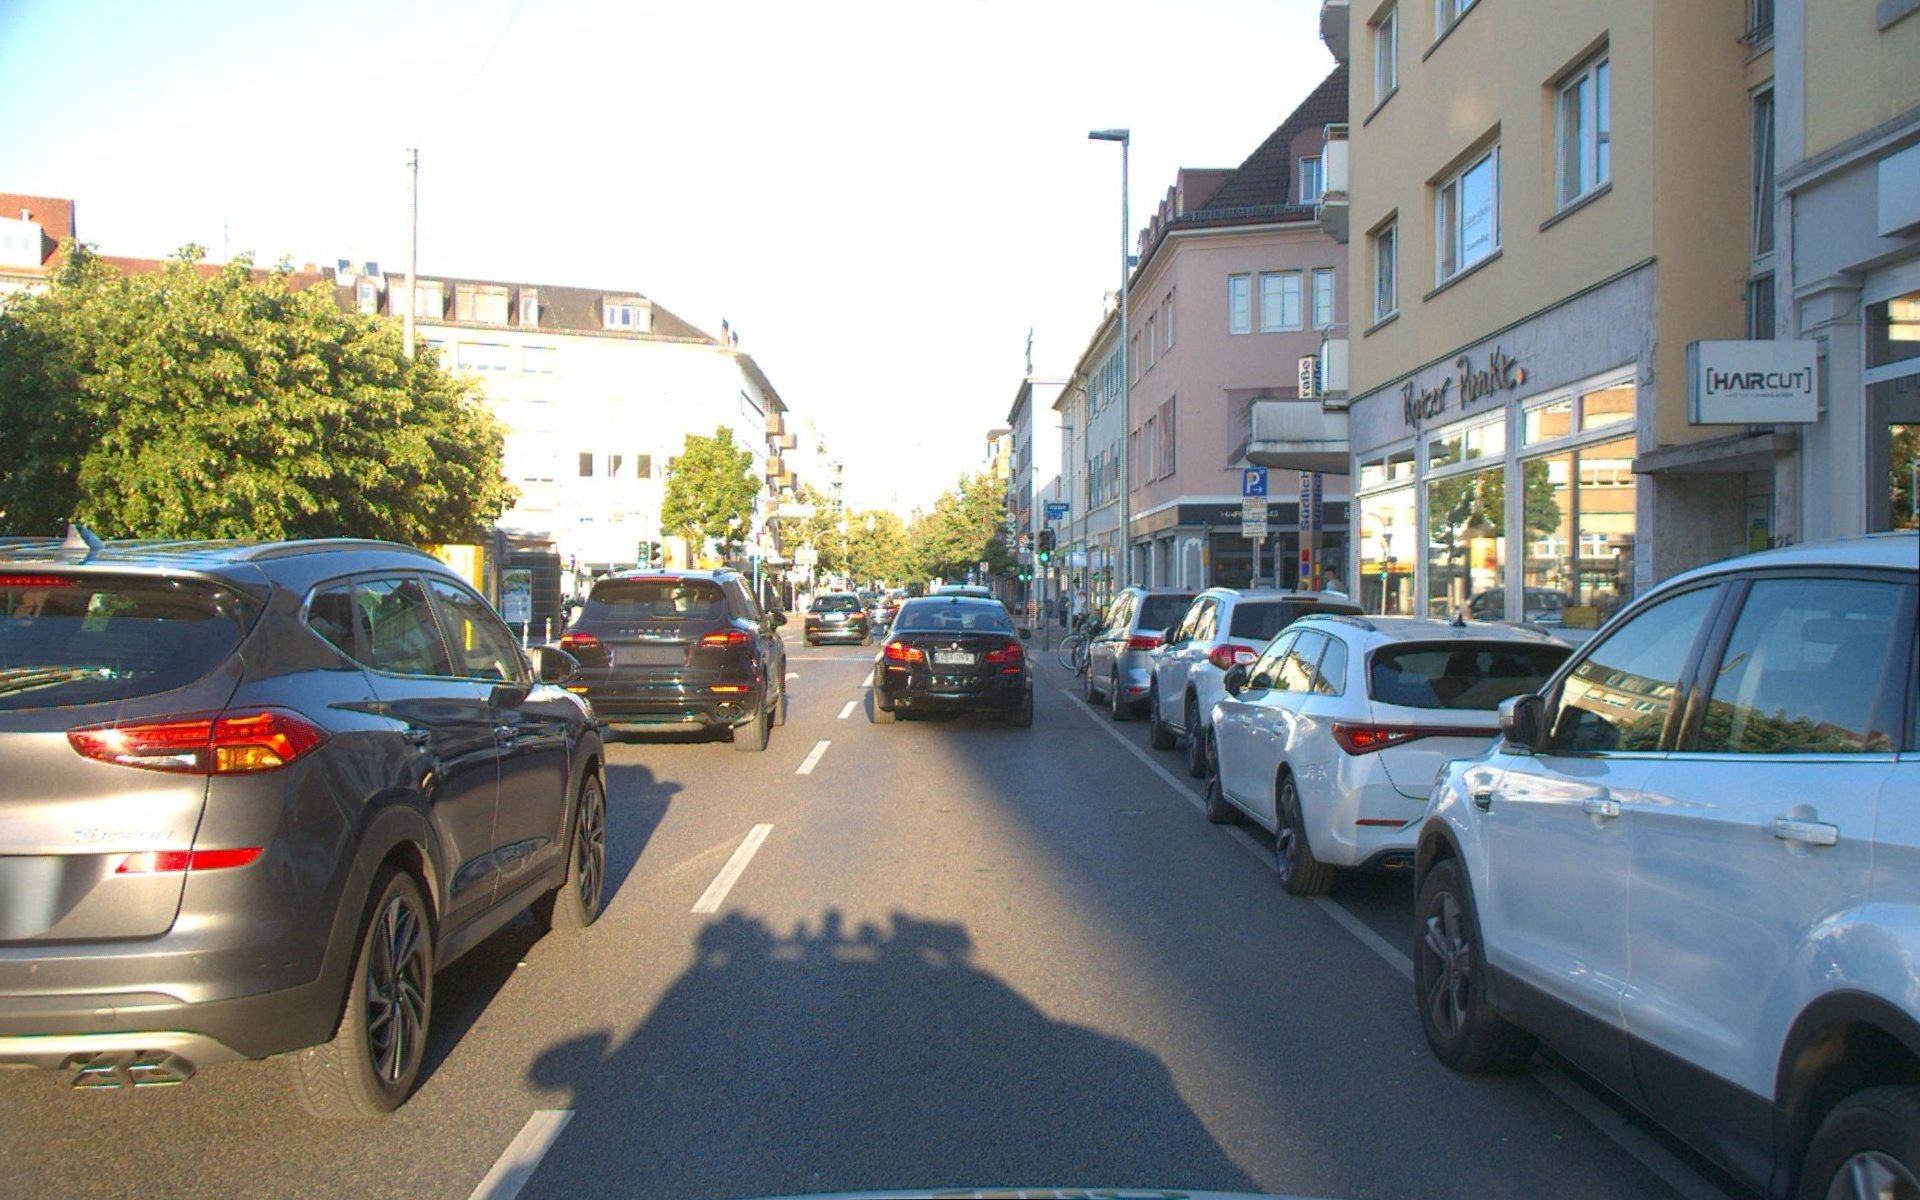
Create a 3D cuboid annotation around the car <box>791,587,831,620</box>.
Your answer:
[{"bbox_3d":[-7.432,0.167,82.702,1.657,1.579,3.950,-2,0,-1],"label":"car"}]

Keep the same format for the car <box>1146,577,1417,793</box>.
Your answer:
[{"bbox_3d":[2.814,0.698,15.270,1.694,1.681,3.828,2,0,0],"label":"car"}]

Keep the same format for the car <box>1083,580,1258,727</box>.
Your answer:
[{"bbox_3d":[2.630,0.642,21.488,1.694,1.681,3.969,2,0,0],"label":"car"}]

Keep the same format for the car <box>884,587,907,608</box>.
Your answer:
[{"bbox_3d":[-4.896,-0.209,126.296,1.743,1.574,3.999,0,0,-2],"label":"car"}]

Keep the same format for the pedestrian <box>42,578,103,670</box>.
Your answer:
[{"bbox_3d":[-15.927,0.430,29.695,0.773,1.623,0.568,1,0,18],"label":"pedestrian"}]

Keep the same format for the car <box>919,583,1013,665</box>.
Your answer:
[{"bbox_3d":[0.070,0.490,35.607,1.858,1.609,3.999,2,0,-2],"label":"car"}]

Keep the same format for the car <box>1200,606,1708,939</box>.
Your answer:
[{"bbox_3d":[2.584,0.807,9.757,1.694,1.476,4.312,2,0,0],"label":"car"}]

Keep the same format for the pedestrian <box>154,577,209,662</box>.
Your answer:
[{"bbox_3d":[-15.088,0.373,32.072,0.773,1.623,0.568,1,0,18],"label":"pedestrian"}]

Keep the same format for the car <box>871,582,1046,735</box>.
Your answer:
[{"bbox_3d":[-0.069,0.632,19.960,1.858,1.609,3.999,2,0,-2],"label":"car"}]

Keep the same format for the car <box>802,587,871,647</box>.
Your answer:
[{"bbox_3d":[-3.392,0.446,46.114,1.743,1.574,3.999,0,0,-2],"label":"car"}]

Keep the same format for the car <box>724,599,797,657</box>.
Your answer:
[{"bbox_3d":[-5.729,0.787,47.951,1.743,1.574,3.999,0,0,-2],"label":"car"}]

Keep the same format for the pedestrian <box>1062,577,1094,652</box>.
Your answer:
[{"bbox_3d":[2.922,0.349,40.944,0.686,1.843,0.634,1,0,-5],"label":"pedestrian"}]

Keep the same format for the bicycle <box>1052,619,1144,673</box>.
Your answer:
[{"bbox_3d":[2.613,0.861,31.360,1.729,0.984,0.490,1,0,4],"label":"bicycle"}]

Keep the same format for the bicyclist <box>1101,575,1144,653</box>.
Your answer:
[{"bbox_3d":[3.810,0.323,38.775,0.814,1.808,0.608,1,0,26],"label":"bicyclist"}]

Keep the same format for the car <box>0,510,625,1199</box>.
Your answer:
[{"bbox_3d":[-2.485,0.626,5.830,1.858,1.678,4.103,0,0,-2],"label":"car"}]

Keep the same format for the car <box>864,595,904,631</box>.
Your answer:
[{"bbox_3d":[-3.446,0.557,75.642,1.743,1.574,3.999,0,0,-2],"label":"car"}]

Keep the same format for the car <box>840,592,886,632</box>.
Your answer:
[{"bbox_3d":[-3.902,0.455,66.755,1.743,1.574,3.999,0,0,-2],"label":"car"}]

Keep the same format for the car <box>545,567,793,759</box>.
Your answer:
[{"bbox_3d":[-2.770,0.555,16.617,1.858,1.678,4.103,0,0,-2],"label":"car"}]

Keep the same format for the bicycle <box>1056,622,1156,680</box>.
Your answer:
[{"bbox_3d":[2.628,0.916,29.878,1.730,0.984,0.490,1,0,24],"label":"bicycle"}]

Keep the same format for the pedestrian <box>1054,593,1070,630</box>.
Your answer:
[{"bbox_3d":[4.349,0.507,70.477,0.619,1.561,0.702,1,0,1],"label":"pedestrian"}]

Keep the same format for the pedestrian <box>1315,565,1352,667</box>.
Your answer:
[{"bbox_3d":[6.777,0.285,30.022,0.497,1.843,0.572,1,0,-5],"label":"pedestrian"}]

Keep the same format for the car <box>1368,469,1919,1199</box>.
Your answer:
[{"bbox_3d":[2.404,0.658,3.994,1.694,1.679,4.283,2,0,-1],"label":"car"}]

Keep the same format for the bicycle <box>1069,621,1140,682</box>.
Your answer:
[{"bbox_3d":[2.477,0.872,28.536,0.482,0.984,1.760,1,0,-22],"label":"bicycle"}]
